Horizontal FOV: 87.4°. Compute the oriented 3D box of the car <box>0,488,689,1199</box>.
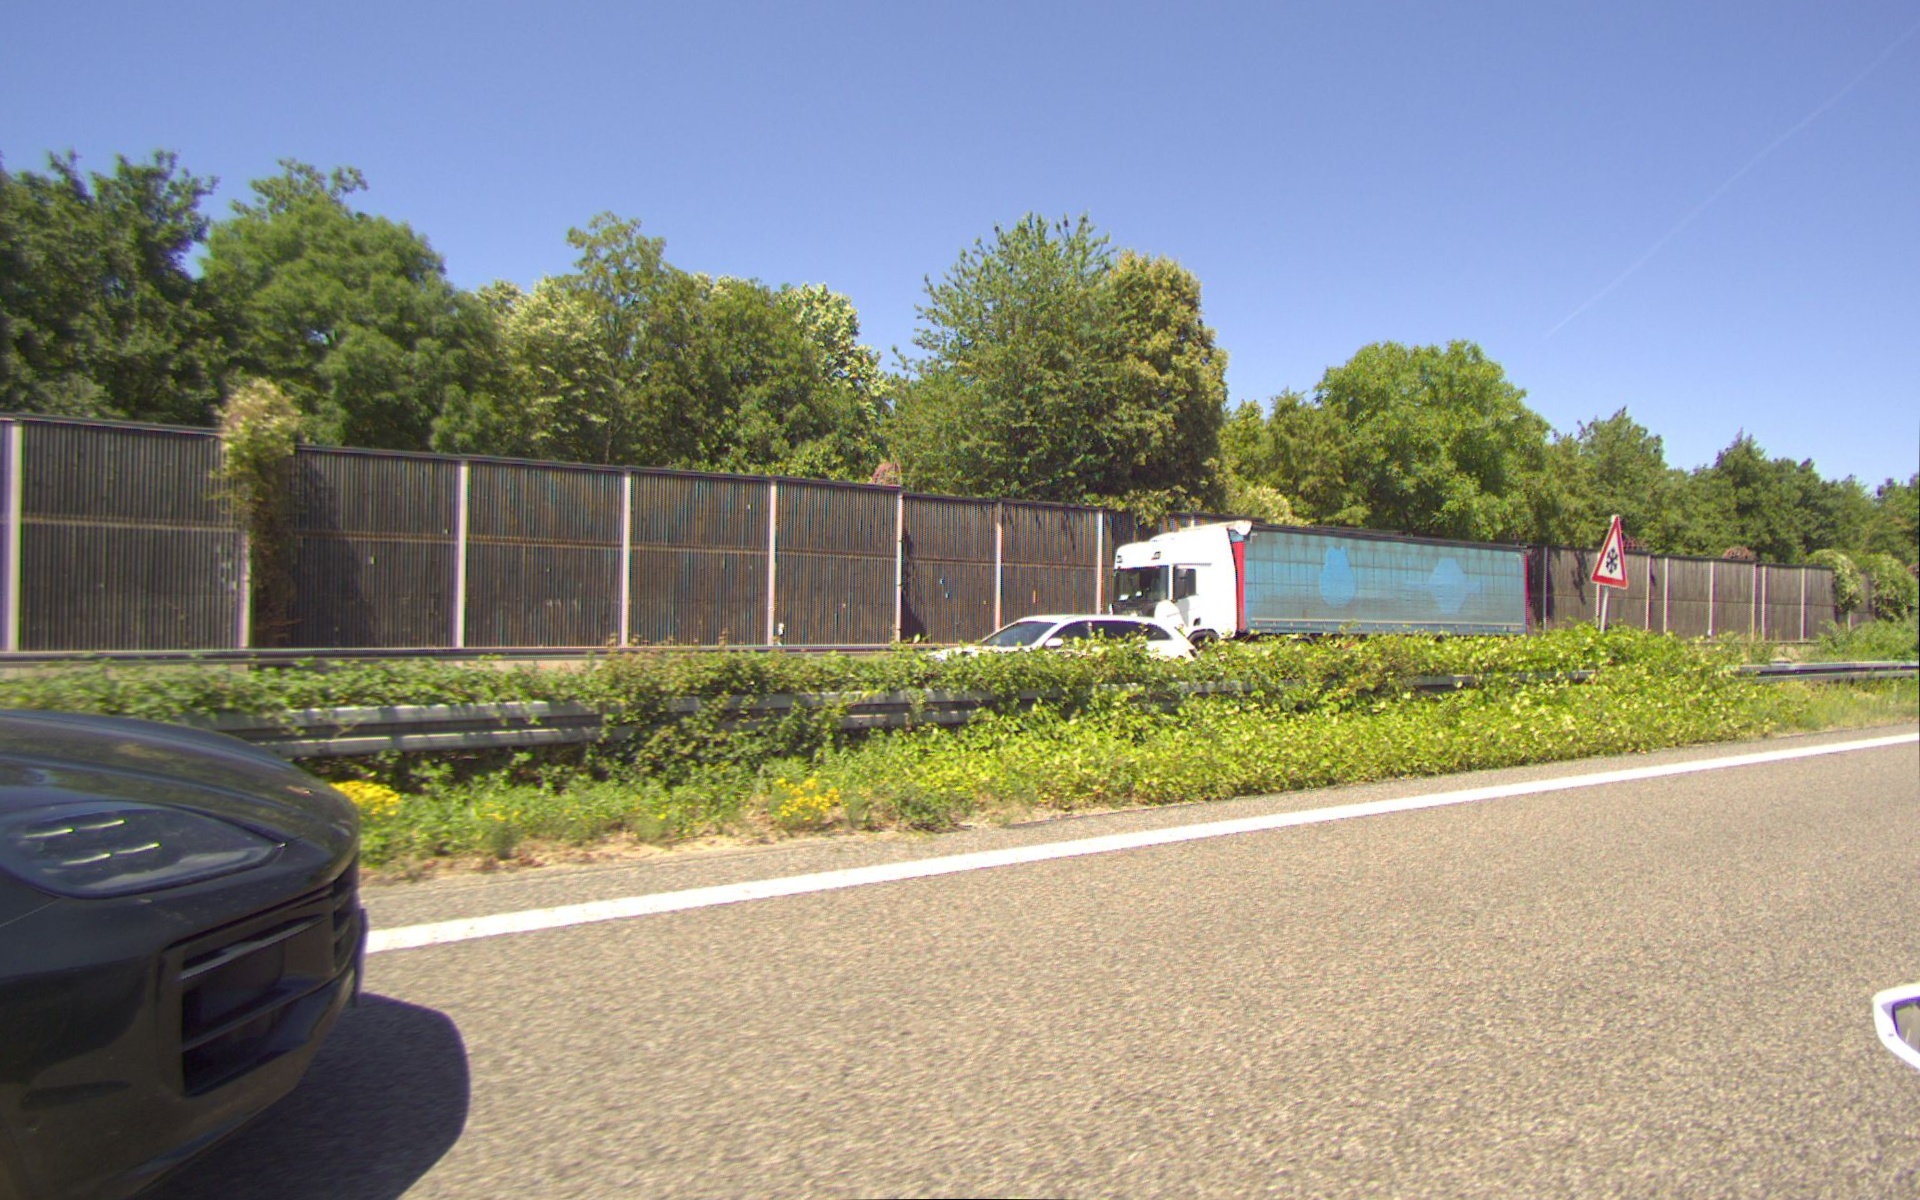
[{"bbox_3d":[-3.589,0.609,1.751,5.704,1.647,2.034,1,-1,-30],"label":"car"}]

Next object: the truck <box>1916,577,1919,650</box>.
[{"bbox_3d":[59.483,0.885,59.178,7.060,4.238,2.819,1,-1,-31],"label":"truck"}]

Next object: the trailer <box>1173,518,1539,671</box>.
[{"bbox_3d":[12.937,0.002,31.652,14.142,4.075,2.721,1,0,-31],"label":"trailer"}]

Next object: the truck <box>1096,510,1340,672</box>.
[{"bbox_3d":[7.321,-0.149,28.225,6.657,4.075,2.744,1,0,-31],"label":"truck"}]

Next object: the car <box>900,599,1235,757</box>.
[{"bbox_3d":[1.699,1.074,15.333,4.838,2.041,1.984,1,1,-30],"label":"car"}]
